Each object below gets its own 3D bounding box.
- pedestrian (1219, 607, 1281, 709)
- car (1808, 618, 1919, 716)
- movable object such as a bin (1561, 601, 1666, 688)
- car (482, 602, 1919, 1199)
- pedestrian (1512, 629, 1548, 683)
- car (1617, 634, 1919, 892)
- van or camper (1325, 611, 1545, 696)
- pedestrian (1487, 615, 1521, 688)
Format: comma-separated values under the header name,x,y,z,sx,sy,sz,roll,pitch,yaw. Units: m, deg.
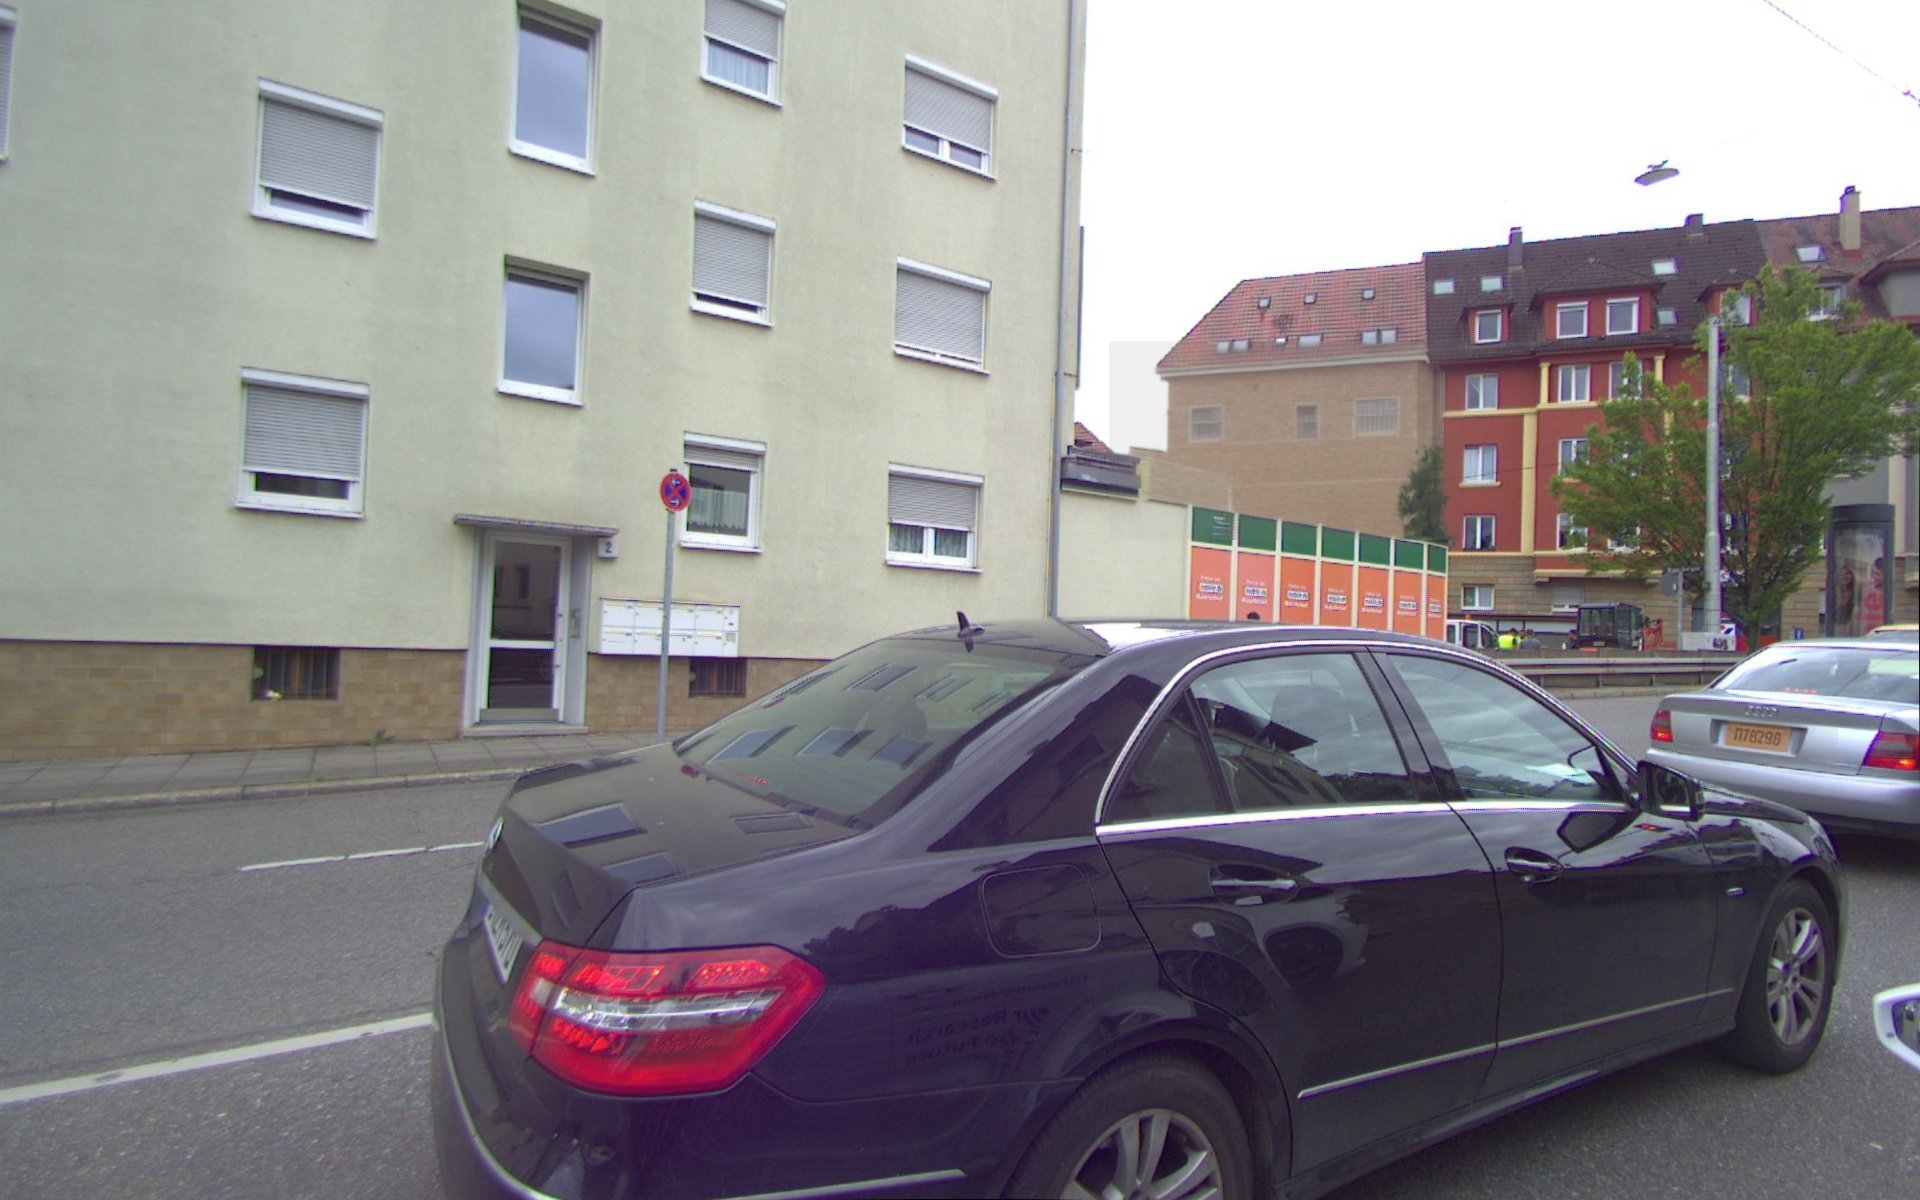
name,x,y,z,sx,sy,sz,roll,pitch,yaw
pedestrian,4.888,0.953,16.926,0.772,1.659,0.683,1,0,-37
car,16.221,1.113,17.067,3.416,1.537,1.592,2,-2,-28
movable object such as a bin,16.556,1.105,25.387,3.510,2.040,1.363,2,-2,-42
car,1.112,0.772,3.392,4.785,1.448,1.984,1,0,-30
pedestrian,14.774,1.444,26.039,0.613,1.381,0.602,0,-1,4
car,6.714,0.943,7.068,4.072,1.383,1.624,1,-2,-25
van or camper,14.537,1.571,31.024,5.894,2.369,2.686,0,-1,26
pedestrian,15.471,1.453,28.551,0.812,2.040,0.679,0,0,30
